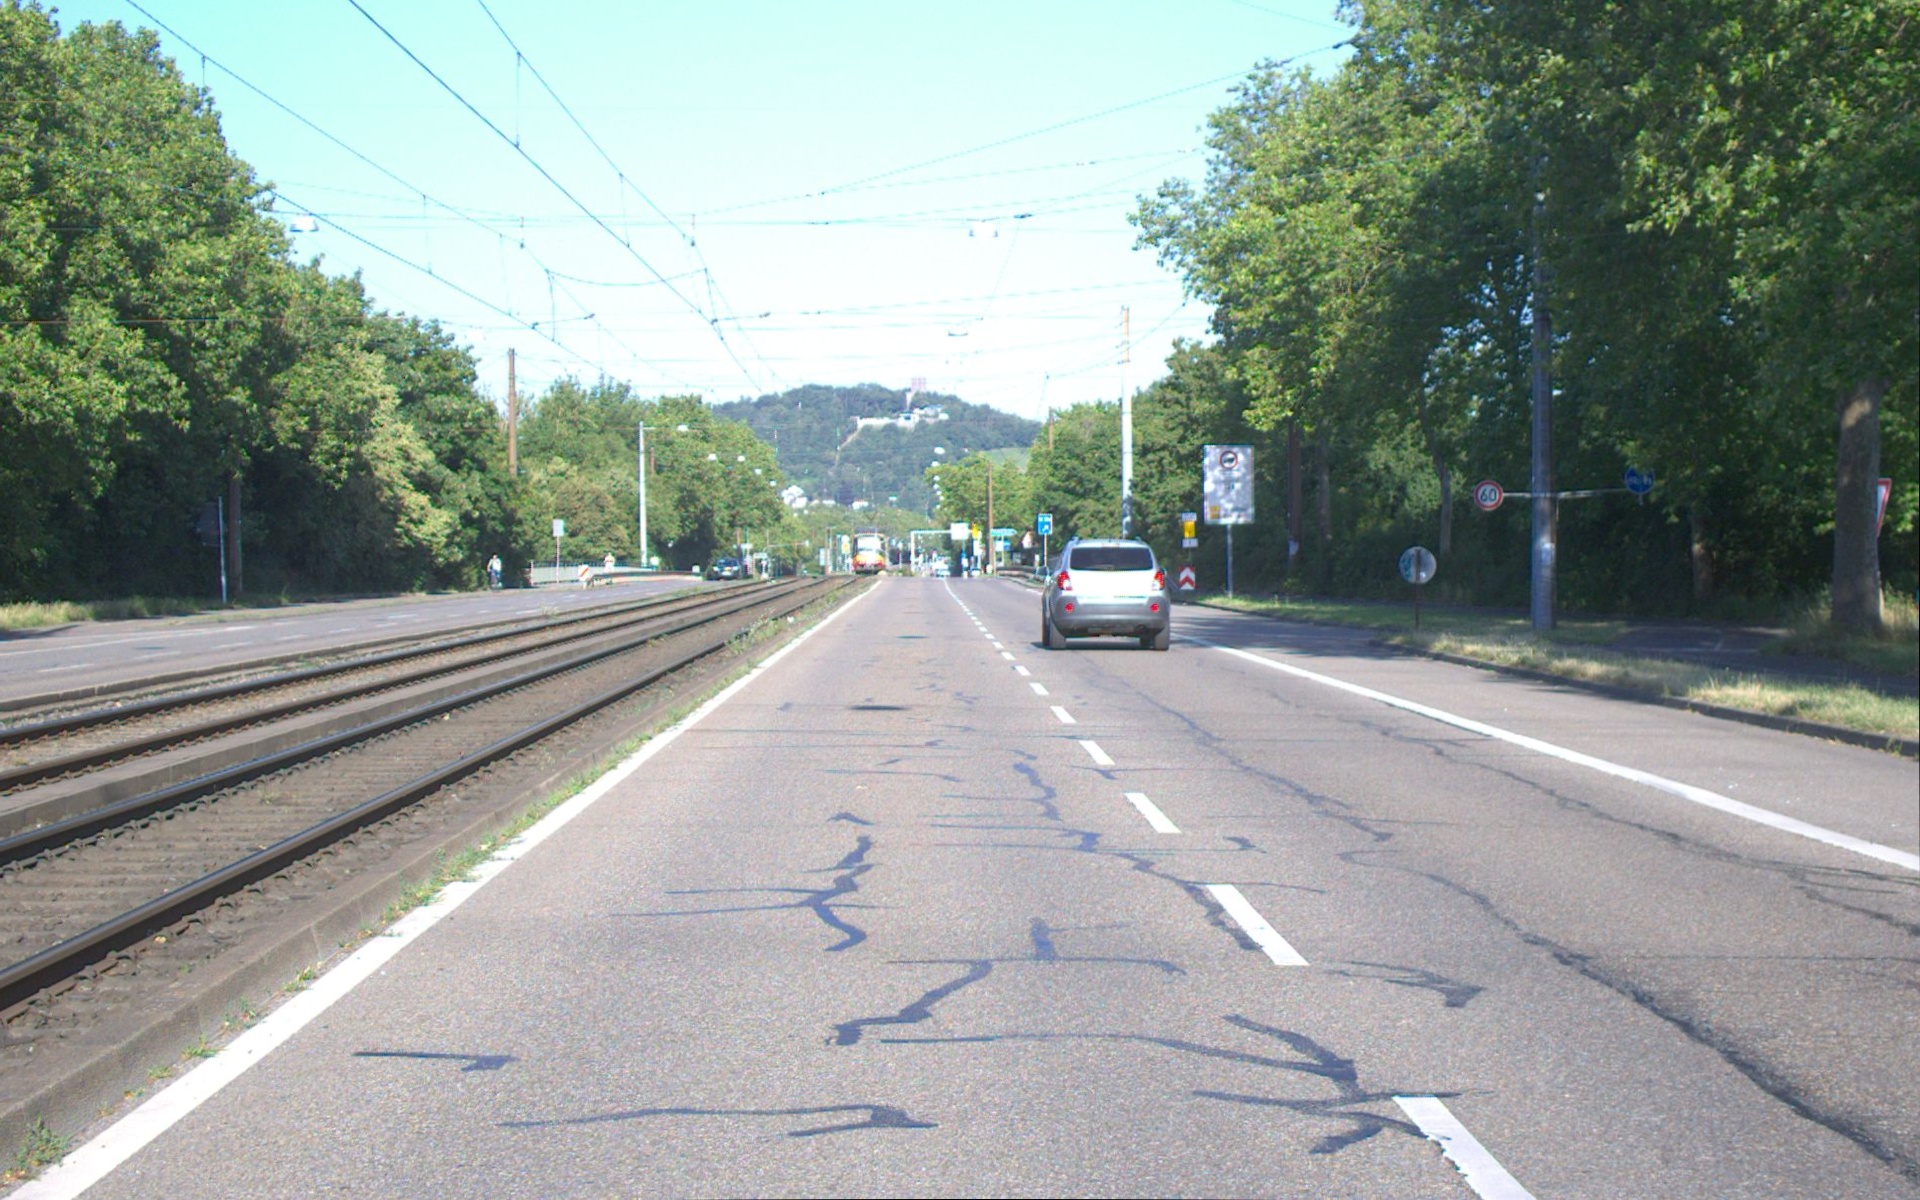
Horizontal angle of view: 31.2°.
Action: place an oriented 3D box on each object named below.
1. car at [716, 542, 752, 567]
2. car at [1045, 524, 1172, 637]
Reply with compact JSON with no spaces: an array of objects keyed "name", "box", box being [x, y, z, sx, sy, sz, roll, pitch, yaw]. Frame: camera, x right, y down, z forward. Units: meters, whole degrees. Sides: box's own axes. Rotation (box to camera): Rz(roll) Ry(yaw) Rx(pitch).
[{"name":"car","box":[-15.958,-3.232,243.013,1.994,1.680,4.795,-2,1,3]},{"name":"car","box":[2.289,-0.322,53.606,1.888,1.688,4.256,0,1,2]}]
